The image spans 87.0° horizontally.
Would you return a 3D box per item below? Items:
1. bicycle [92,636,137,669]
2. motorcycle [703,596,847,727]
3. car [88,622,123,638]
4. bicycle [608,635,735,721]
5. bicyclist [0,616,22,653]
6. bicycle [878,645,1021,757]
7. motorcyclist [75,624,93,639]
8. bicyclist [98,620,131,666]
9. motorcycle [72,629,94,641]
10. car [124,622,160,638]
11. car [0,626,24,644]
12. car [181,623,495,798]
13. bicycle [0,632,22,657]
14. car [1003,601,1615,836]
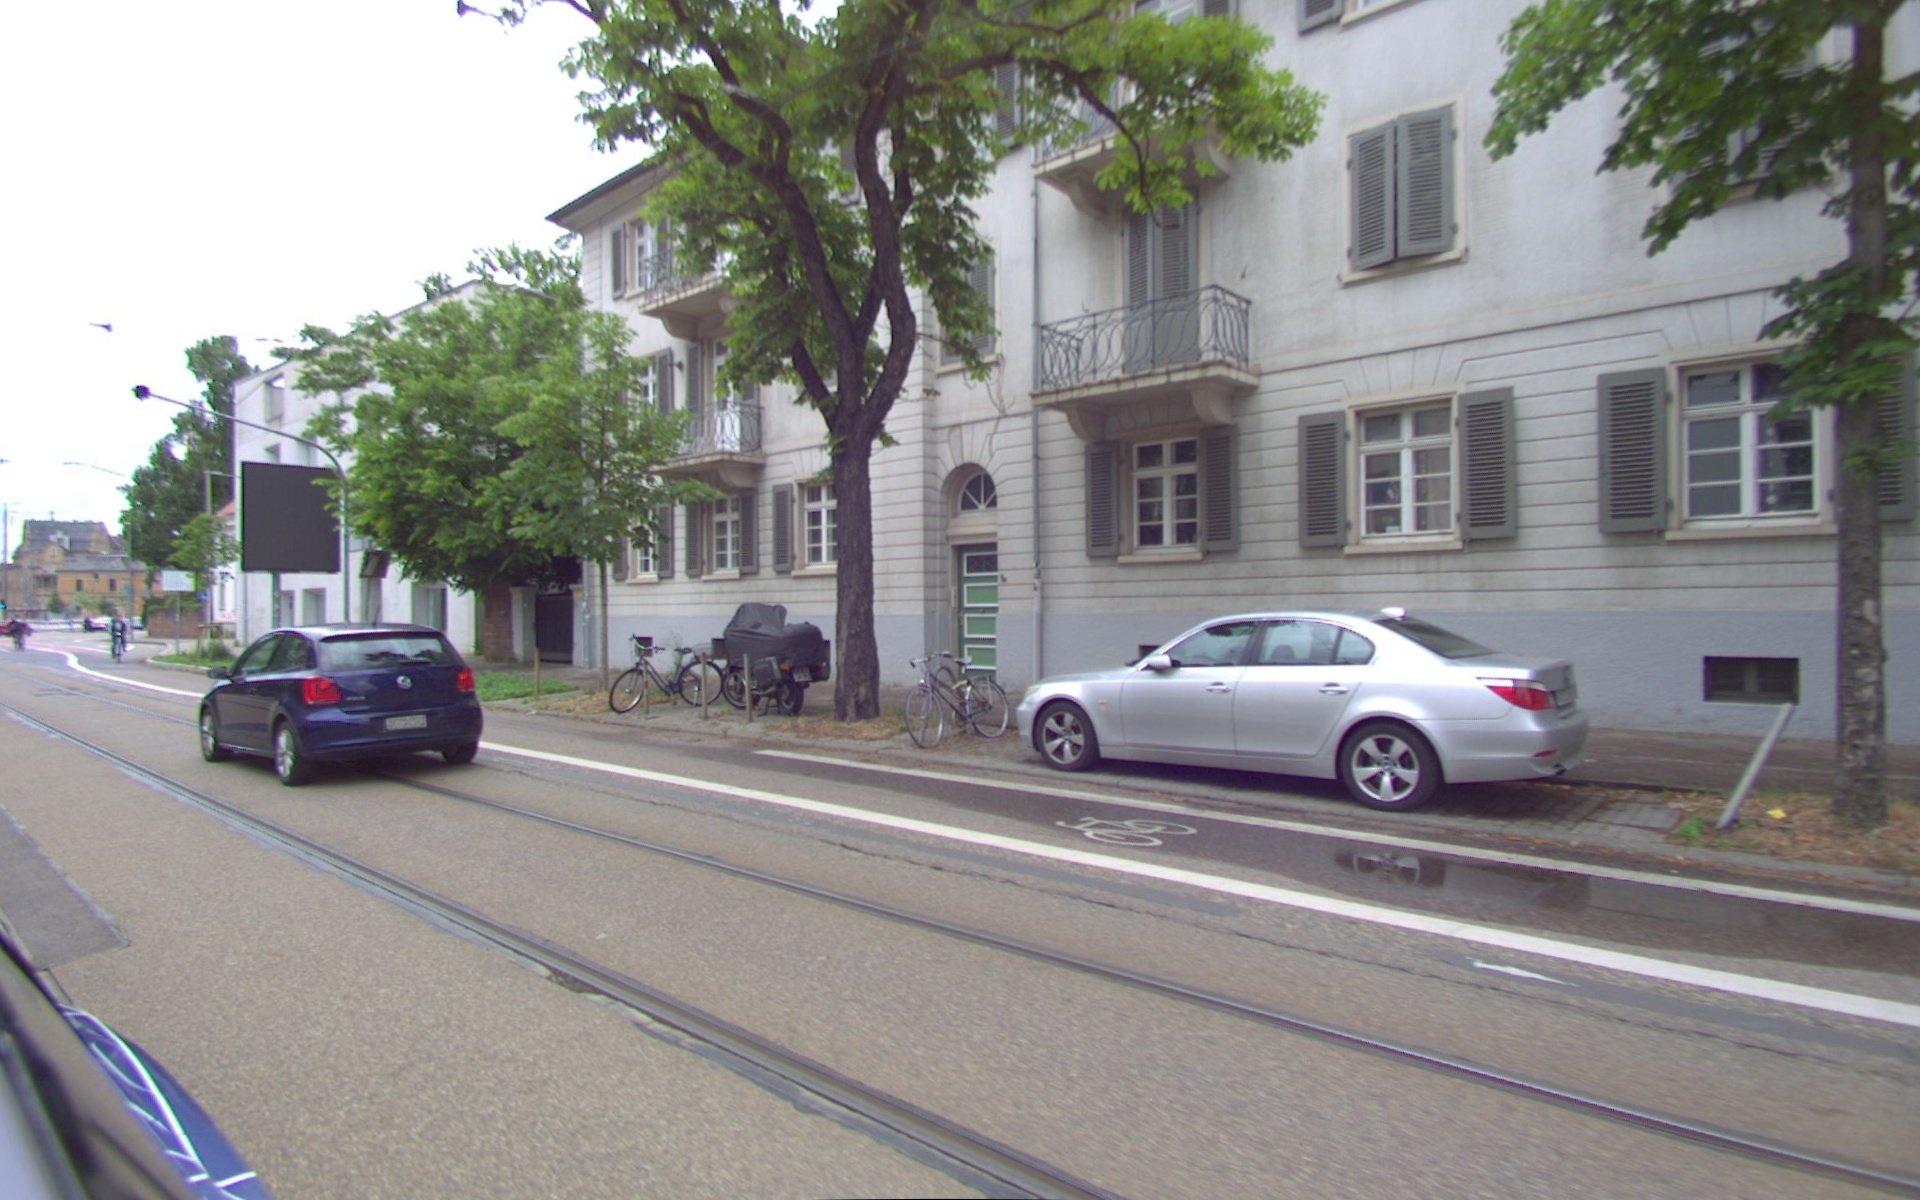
[{"bbox_3d":[-32.487,2.002,38.909,0.763,1.221,1.875,0,-1,-22],"label":"bicycle"},{"bbox_3d":[-2.608,0.793,13.979,0.822,1.655,2.484,0,-1,-41],"label":"motorcycle"},{"bbox_3d":[-89.022,3.106,105.495,1.469,1.520,3.479,0,-1,-16],"label":"car"},{"bbox_3d":[-4.301,1.139,15.146,1.718,1.137,0.519,-2,0,-31],"label":"bicycle"},{"bbox_3d":[-47.397,1.734,50.485,0.781,1.797,1.149,4,-4,-41],"label":"bicyclist"},{"bbox_3d":[-0.080,1.081,11.342,0.563,1.035,1.877,-1,0,37],"label":"bicycle"},{"bbox_3d":[-87.844,3.130,101.511,1.058,1.497,1.255,-1,-1,-26],"label":"motorcyclist"},{"bbox_3d":[-32.484,1.643,38.895,0.763,1.703,0.871,0,-1,-22],"label":"bicyclist"},{"bbox_3d":[-87.700,3.477,101.255,1.038,1.077,2.657,-1,-1,-26],"label":"motorcycle"},{"bbox_3d":[-90.911,3.277,112.486,1.658,1.663,3.991,0,-1,-15],"label":"car"},{"bbox_3d":[-84.100,3.048,89.269,1.732,1.510,4.010,1,-2,-35],"label":"car"},{"bbox_3d":[-6.359,0.959,10.210,3.653,1.419,1.711,-1,-1,41],"label":"car"},{"bbox_3d":[-47.338,2.221,50.382,0.781,1.195,2.013,4,-4,-41],"label":"bicycle"},{"bbox_3d":[2.735,0.799,8.662,4.611,1.477,1.793,-1,0,41],"label":"car"}]
